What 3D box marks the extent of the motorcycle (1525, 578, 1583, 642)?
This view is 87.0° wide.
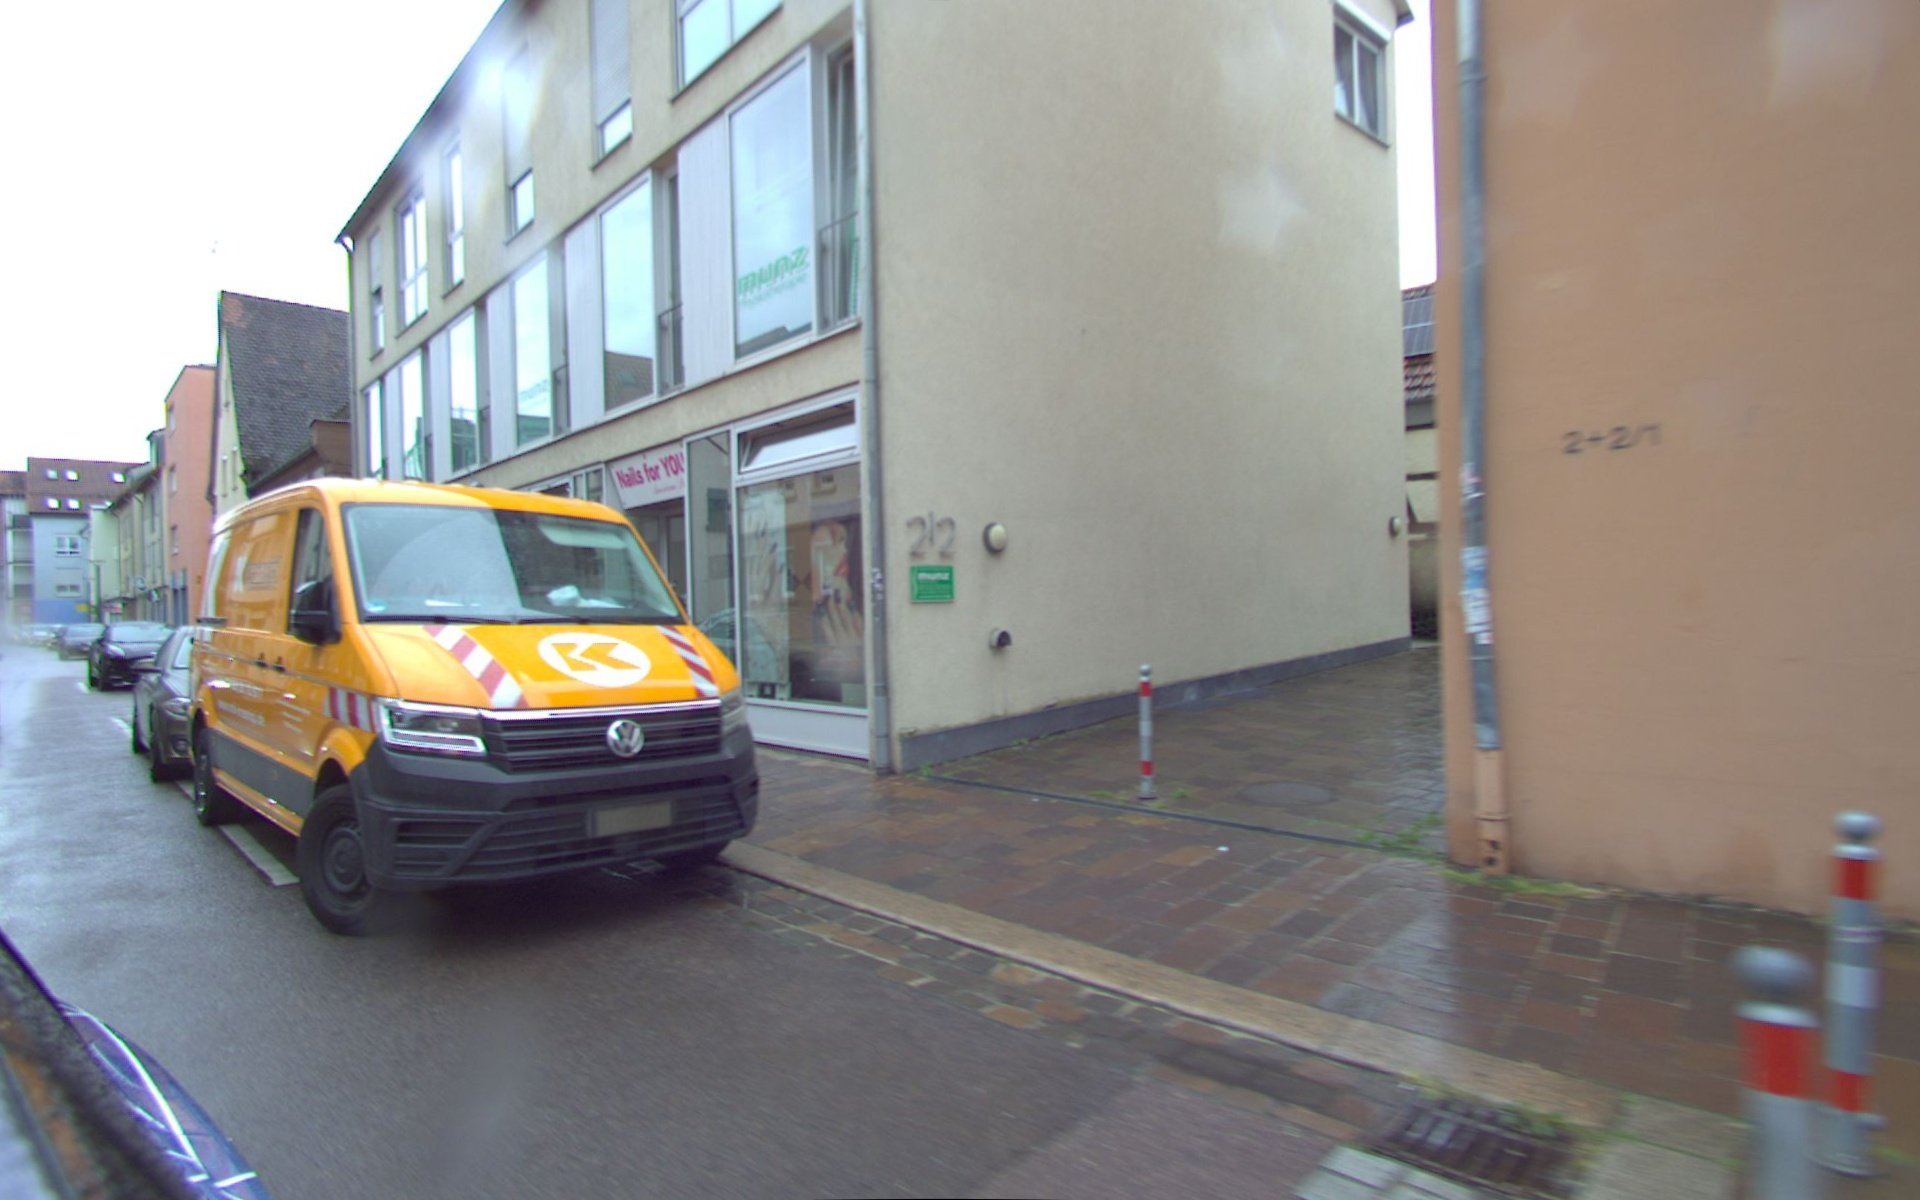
[{"bbox_3d":[9.436,0.148,16.053,0.519,0.937,1.430,-2,1,41],"label":"motorcycle"}]

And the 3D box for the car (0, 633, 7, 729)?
[{"bbox_3d":[-13.992,1.154,13.271,1.918,1.413,4.426,1,-2,-40],"label":"car"}]

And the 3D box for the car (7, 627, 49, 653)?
[{"bbox_3d":[-60.188,2.565,65.356,1.970,1.608,4.004,-1,-1,-43],"label":"car"}]

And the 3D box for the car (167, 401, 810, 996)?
[{"bbox_3d":[-3.541,0.428,6.637,1.970,2.257,5.865,0,-1,-44],"label":"car"}]

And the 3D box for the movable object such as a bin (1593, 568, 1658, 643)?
[{"bbox_3d":[10.066,0.084,15.307,0.676,1.087,0.905,-2,0,42],"label":"movable object such as a bin"}]

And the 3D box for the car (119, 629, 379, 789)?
[{"bbox_3d":[-7.807,1.018,10.916,1.735,1.366,4.486,2,-3,-42],"label":"car"}]

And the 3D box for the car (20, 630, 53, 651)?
[{"bbox_3d":[-63.379,2.776,69.438,1.608,1.377,3.492,-1,-1,-43],"label":"car"}]

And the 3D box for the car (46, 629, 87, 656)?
[{"bbox_3d":[-48.591,2.299,55.021,1.608,1.377,3.492,-1,-1,-43],"label":"car"}]

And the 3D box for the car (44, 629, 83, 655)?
[{"bbox_3d":[-51.598,2.399,58.209,1.608,1.377,3.492,-1,-1,-43],"label":"car"}]

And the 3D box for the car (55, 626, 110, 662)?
[{"bbox_3d":[-36.601,1.821,42.173,1.608,1.377,3.492,-1,-1,-43],"label":"car"}]

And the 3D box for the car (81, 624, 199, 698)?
[{"bbox_3d":[-19.248,1.363,23.702,3.932,1.537,1.715,-2,-1,45],"label":"car"}]
